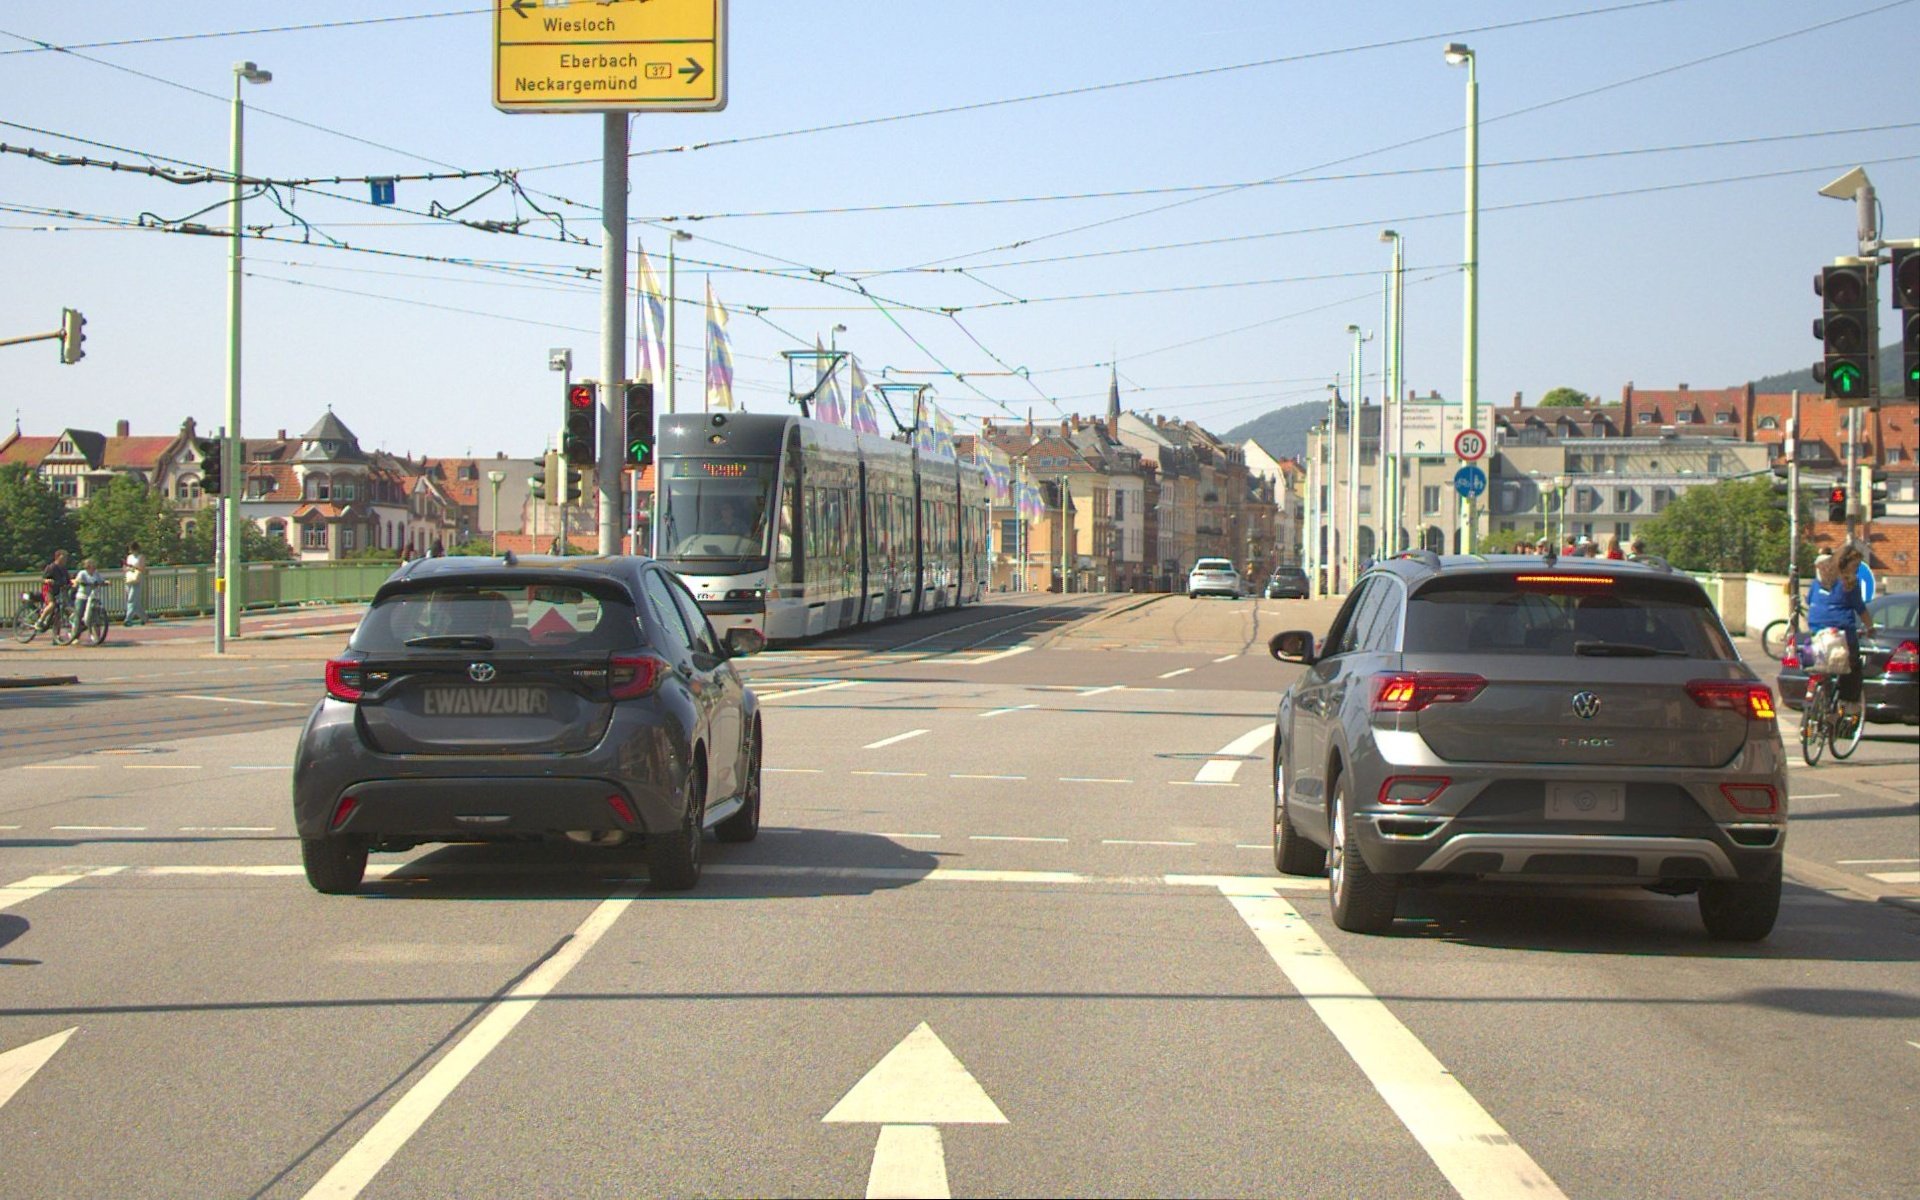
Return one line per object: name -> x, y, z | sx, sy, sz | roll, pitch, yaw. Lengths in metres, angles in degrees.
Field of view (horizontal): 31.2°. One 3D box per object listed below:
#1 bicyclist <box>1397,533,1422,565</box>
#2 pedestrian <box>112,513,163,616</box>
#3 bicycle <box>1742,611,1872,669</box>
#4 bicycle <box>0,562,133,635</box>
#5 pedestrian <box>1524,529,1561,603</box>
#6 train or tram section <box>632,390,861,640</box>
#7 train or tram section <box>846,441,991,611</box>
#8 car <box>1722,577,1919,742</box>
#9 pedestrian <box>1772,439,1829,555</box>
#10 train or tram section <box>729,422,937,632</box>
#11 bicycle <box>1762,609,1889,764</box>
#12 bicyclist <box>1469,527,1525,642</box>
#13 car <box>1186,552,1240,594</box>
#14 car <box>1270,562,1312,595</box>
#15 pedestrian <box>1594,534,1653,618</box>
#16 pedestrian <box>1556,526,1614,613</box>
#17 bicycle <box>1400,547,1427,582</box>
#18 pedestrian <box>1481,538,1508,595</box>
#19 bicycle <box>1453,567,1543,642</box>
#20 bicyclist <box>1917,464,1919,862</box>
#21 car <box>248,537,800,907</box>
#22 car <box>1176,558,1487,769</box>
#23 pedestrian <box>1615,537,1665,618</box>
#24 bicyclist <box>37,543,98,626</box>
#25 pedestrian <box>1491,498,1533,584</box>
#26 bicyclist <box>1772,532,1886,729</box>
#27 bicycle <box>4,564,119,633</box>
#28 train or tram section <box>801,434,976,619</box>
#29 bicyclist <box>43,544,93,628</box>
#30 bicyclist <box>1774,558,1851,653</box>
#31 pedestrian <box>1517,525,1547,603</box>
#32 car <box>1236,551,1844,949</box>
bicyclist -> 15.519, -1.755, 118.729 | 0.666, 1.041, 0.980 | -4, 0, 1
pedestrian -> -16.079, -0.692, 67.200 | 0.898, 2.007, 0.834 | 0, 1, -17
bicycle -> 13.557, 0.639, 55.063 | 1.939, 0.824, 0.565 | 2, 1, 9
bicycle -> -15.801, -0.035, 60.788 | 2.236, 1.274, 0.740 | 0, 1, -17
pedestrian -> 13.513, -0.792, 79.800 | 0.695, 1.711, 0.732 | 1, 0, -1
train or tram section -> -3.362, -1.377, 56.502 | 2.537, 3.764, 9.168 | 0, 1, 4
train or tram section -> -0.870, -1.771, 82.504 | 2.470, 3.764, 11.849 | 0, 1, 4
car -> 9.323, 0.564, 33.085 | 3.989, 1.431, 1.999 | 1, 1, -45
pedestrian -> 13.657, -1.669, 55.873 | 0.774, 1.849, 0.644 | 1, 1, 8
train or tram section -> -2.325, -1.419, 66.457 | 2.538, 3.764, 9.167 | 0, 1, 7
bicycle -> 7.013, 0.677, 27.951 | 0.615, 1.160, 2.249 | 1, 1, 4
bicyclist -> 8.212, -0.235, 52.628 | 0.673, 1.738, 1.150 | 0, 0, 0
car -> 9.145, -0.968, 124.486 | 1.804, 1.464, 4.000 | -1, 0, 2
car -> 15.234, -0.998, 158.112 | 1.804, 1.464, 3.999 | -1, 0, 7
pedestrian -> 13.953, -0.511, 72.318 | 0.985, 1.763, 1.254 | 0, 1, -1
pedestrian -> 12.758, -0.626, 70.224 | 0.985, 1.744, 0.930 | 1, 0, -1
bicycle -> 15.610, -1.216, 118.376 | 0.695, 1.189, 2.079 | 0, 0, 1
pedestrian -> 16.747, -1.053, 107.679 | 0.654, 1.738, 0.978 | 1, 2, 0
bicycle -> 8.124, 0.050, 52.079 | 0.792, 1.092, 3.744 | 0, 0, 0
bicyclist -> 5.319, 0.323, 16.970 | 0.941, 2.007, 0.830 | 0, 1, -1
car -> -1.931, 0.485, 16.449 | 1.910, 1.535, 4.000 | -1, 1, 3
car -> 2.762, 0.427, 26.396 | 1.993, 1.481, 4.000 | 0, 1, 1
pedestrian -> 13.859, -0.456, 70.059 | 0.799, 1.629, 0.950 | 1, 0, -1
bicyclist -> -15.788, -0.281, 60.817 | 1.003, 1.444, 0.816 | 0, 1, -17
pedestrian -> 13.036, -1.396, 81.256 | 0.803, 2.007, 0.954 | 1, 0, -1
bicyclist -> 7.011, 0.230, 27.774 | 0.775, 1.548, 1.059 | 1, 1, 8
bicycle -> -16.078, -0.034, 61.502 | 1.968, 1.205, 0.640 | 0, 1, -17
train or tram section -> -1.406, -1.574, 73.318 | 2.404, 3.668, 9.617 | 0, 1, 7
bicyclist -> -15.959, -0.256, 61.491 | 0.823, 1.488, 0.877 | 0, 1, -17
bicyclist -> 13.639, 0.086, 55.032 | 1.080, 1.469, 0.800 | 2, 1, 9
pedestrian -> 13.154, -0.823, 79.106 | 0.549, 1.793, 0.646 | 1, 0, -1
car -> 2.368, 0.541, 15.088 | 1.929, 1.510, 3.993 | 0, 1, -1
